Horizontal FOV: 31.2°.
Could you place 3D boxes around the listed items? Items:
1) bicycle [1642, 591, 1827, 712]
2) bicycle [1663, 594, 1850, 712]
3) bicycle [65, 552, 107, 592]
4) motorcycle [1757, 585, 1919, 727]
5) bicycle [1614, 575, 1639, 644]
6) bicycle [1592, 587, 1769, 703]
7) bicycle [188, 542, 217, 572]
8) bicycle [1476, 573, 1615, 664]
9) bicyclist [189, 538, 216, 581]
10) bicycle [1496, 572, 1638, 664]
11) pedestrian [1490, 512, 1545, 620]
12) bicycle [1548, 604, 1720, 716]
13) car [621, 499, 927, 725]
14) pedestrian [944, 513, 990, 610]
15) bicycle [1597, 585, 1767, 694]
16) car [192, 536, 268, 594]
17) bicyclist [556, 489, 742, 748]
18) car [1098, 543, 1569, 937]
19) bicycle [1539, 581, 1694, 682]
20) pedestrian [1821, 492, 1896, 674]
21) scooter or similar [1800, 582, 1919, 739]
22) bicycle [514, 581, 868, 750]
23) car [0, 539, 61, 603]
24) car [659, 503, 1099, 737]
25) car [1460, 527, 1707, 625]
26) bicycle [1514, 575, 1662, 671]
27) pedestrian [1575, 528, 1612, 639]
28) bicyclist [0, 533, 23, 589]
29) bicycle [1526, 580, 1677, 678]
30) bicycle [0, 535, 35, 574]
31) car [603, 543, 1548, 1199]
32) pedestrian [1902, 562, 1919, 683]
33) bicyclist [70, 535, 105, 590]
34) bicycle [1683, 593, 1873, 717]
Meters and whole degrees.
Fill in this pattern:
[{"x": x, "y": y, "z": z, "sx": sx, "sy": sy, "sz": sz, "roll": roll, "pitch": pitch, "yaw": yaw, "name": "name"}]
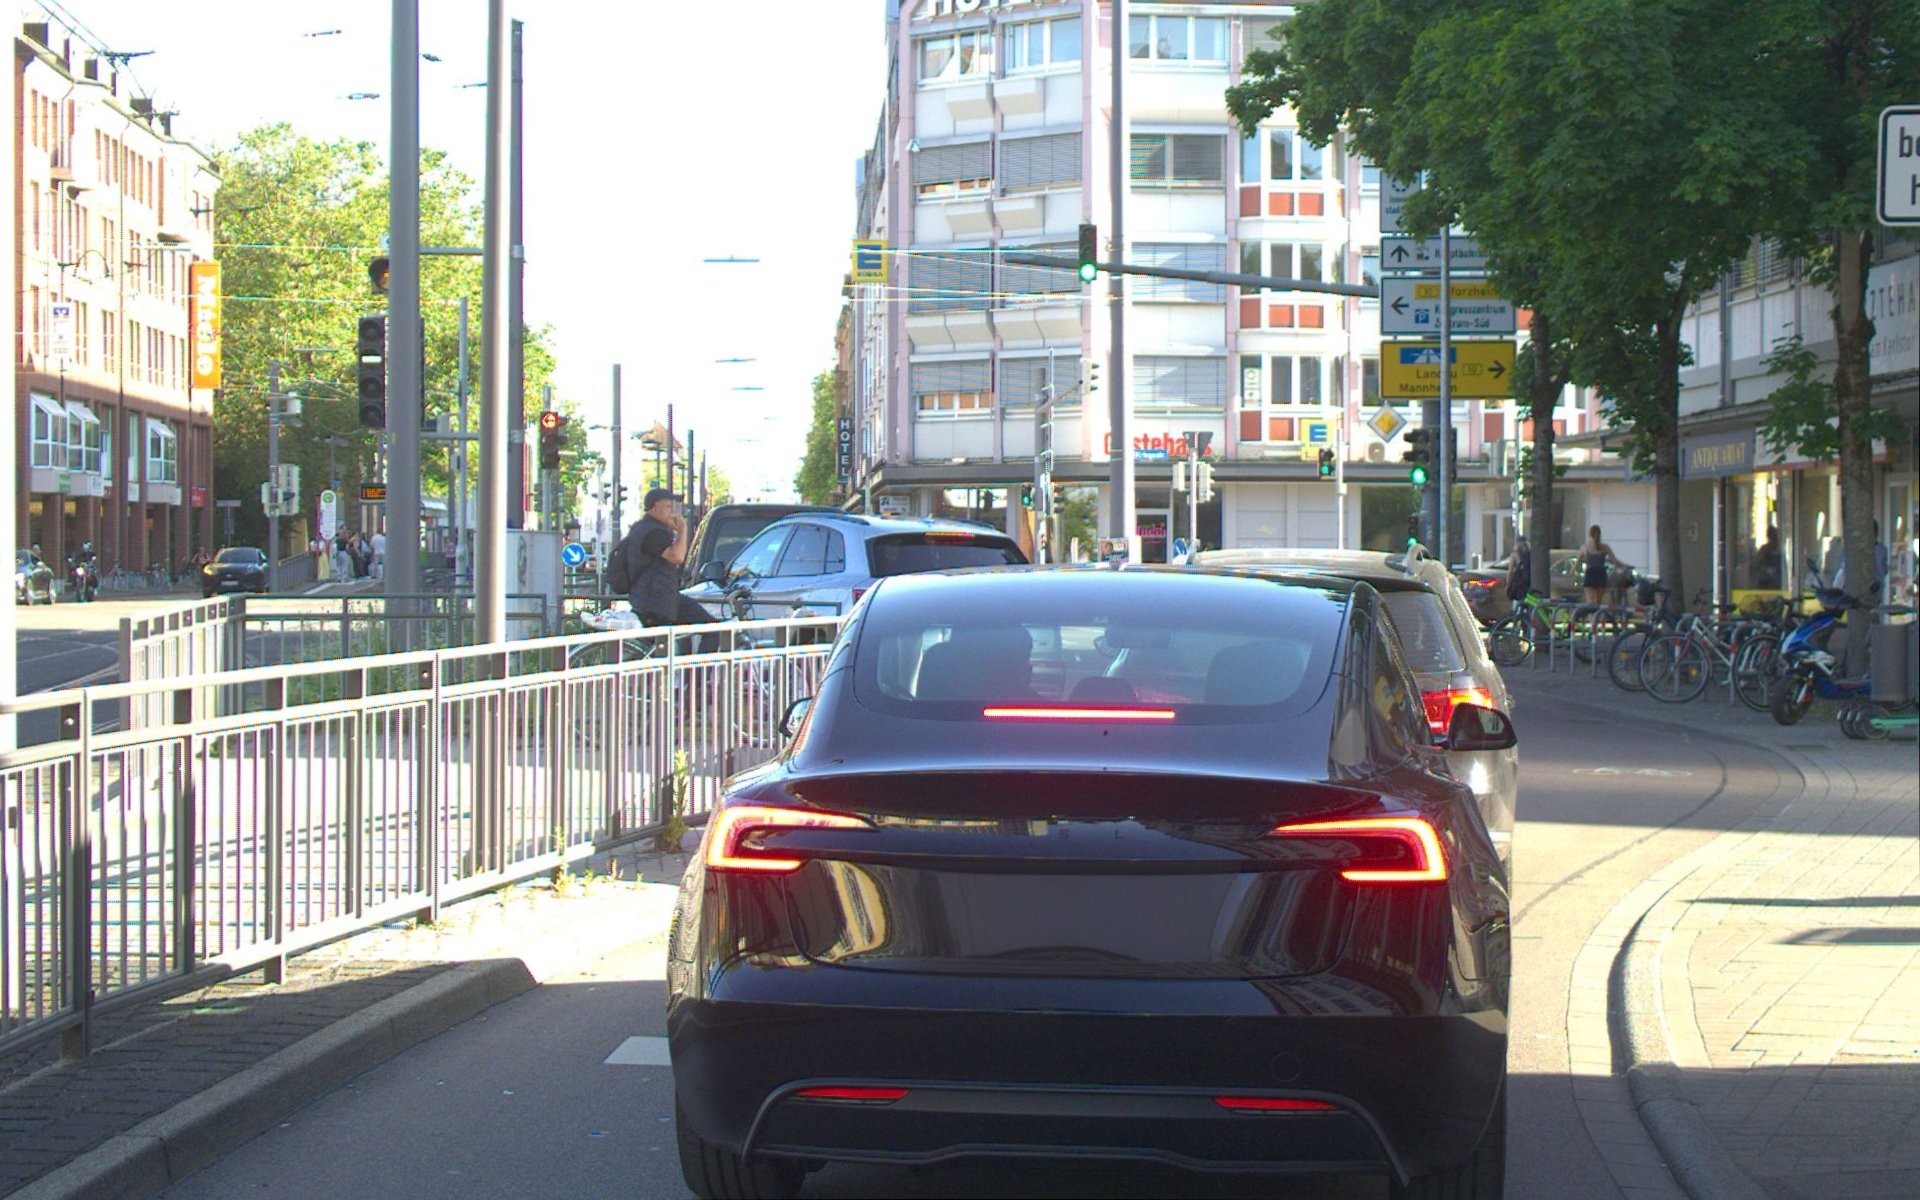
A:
[{"x": 7.180, "y": 0.479, "z": 31.865, "sx": 1.649, "sy": 1.095, "sz": 0.350, "roll": 1, "pitch": 0, "yaw": -10, "name": "bicycle"}, {"x": 7.285, "y": 0.485, "z": 31.442, "sx": 1.649, "sy": 1.057, "sz": 0.350, "roll": 1, "pitch": 0, "yaw": -10, "name": "bicycle"}, {"x": -24.197, "y": -0.781, "z": 95.162, "sx": 0.459, "sy": 1.089, "sz": 2.201, "roll": 1, "pitch": 1, "yaw": 4, "name": "bicycle"}, {"x": 7.711, "y": 0.478, "z": 29.256, "sx": 1.707, "sy": 1.169, "sz": 0.541, "roll": 1, "pitch": 0, "yaw": -2, "name": "motorcycle"}, {"x": 10.212, "y": 0.140, "z": 52.677, "sx": 0.332, "sy": 1.030, "sz": 1.256, "roll": 1, "pitch": 0, "yaw": 9, "name": "bicycle"}, {"x": 6.999, "y": 0.436, "z": 33.392, "sx": 1.649, "sy": 1.095, "sz": 0.350, "roll": 1, "pitch": 0, "yaw": -10, "name": "bicycle"}, {"x": -28.029, "y": -1.598, "z": 127.274, "sx": 0.529, "sy": 1.085, "sz": 2.224, "roll": 1, "pitch": 1, "yaw": 1, "name": "bicycle"}, {"x": 7.231, "y": 0.224, "z": 42.472, "sx": 1.650, "sy": 1.095, "sz": 0.350, "roll": 1, "pitch": 0, "yaw": 1, "name": "bicycle"}, {"x": -28.026, "y": -1.507, "z": 127.222, "sx": 0.784, "sy": 1.558, "sz": 0.746, "roll": 1, "pitch": 0, "yaw": 2, "name": "bicyclist"}, {"x": 7.299, "y": 0.215, "z": 41.378, "sx": 1.650, "sy": 1.095, "sz": 0.350, "roll": 0, "pitch": 1, "yaw": 1, "name": "bicycle"}, {"x": 8.620, "y": -0.522, "z": 53.166, "sx": 0.699, "sy": 1.656, "sz": 0.777, "roll": 1, "pitch": 0, "yaw": -1, "name": "pedestrian"}, {"x": 6.710, "y": 0.595, "z": 34.213, "sx": 1.649, "sy": 1.095, "sz": 0.350, "roll": 1, "pitch": 0, "yaw": -10, "name": "bicycle"}, {"x": -1.840, "y": 0.079, "z": 32.654, "sx": 1.993, "sy": 2.007, "sz": 4.001, "roll": 0, "pitch": 1, "yaw": -17, "name": "car"}, {"x": 0.152, "y": -0.801, "z": 72.044, "sx": 0.921, "sy": 2.007, "sz": 0.972, "roll": 1, "pitch": 0, "yaw": -1, "name": "pedestrian"}, {"x": 7.417, "y": 0.405, "z": 35.341, "sx": 1.650, "sy": 1.095, "sz": 0.350, "roll": 1, "pitch": 0, "yaw": 1, "name": "bicycle"}, {"x": -22.502, "y": -1.090, "z": 106.067, "sx": 1.697, "sy": 1.725, "sz": 3.707, "roll": 1, "pitch": 1, "yaw": -3, "name": "car"}, {"x": -2.007, "y": 0.108, "z": 22.149, "sx": 0.758, "sy": 1.623, "sz": 0.978, "roll": 0, "pitch": 1, "yaw": -39, "name": "bicyclist"}, {"x": 1.610, "y": 0.493, "z": 14.995, "sx": 1.751, "sy": 1.449, "sz": 3.999, "roll": 1, "pitch": 1, "yaw": 6, "name": "car"}, {"x": 7.309, "y": 0.345, "z": 38.293, "sx": 1.650, "sy": 1.095, "sz": 0.350, "roll": 1, "pitch": 0, "yaw": 1, "name": "bicycle"}, {"x": 9.995, "y": -0.190, "z": 38.260, "sx": 0.662, "sy": 2.007, "sz": 0.579, "roll": 1, "pitch": 0, "yaw": 2, "name": "pedestrian"}, {"x": 7.555, "y": 0.475, "z": 27.182, "sx": 1.644, "sy": 1.211, "sz": 0.644, "roll": 1, "pitch": 0, "yaw": 30, "name": "scooter or similar"}, {"x": -1.732, "y": 0.414, "z": 22.423, "sx": 2.329, "sy": 1.050, "sz": 0.631, "roll": 0, "pitch": 1, "yaw": -38, "name": "bicycle"}, {"x": -23.565, "y": -0.731, "z": 85.422, "sx": 1.710, "sy": 1.521, "sz": 4.037, "roll": 1, "pitch": 1, "yaw": -5, "name": "car"}, {"x": -0.719, "y": 0.118, "z": 26.576, "sx": 1.883, "sy": 1.656, "sz": 4.159, "roll": 1, "pitch": 1, "yaw": -25, "name": "car"}, {"x": 10.698, "y": -0.419, "z": 59.127, "sx": 3.813, "sy": 1.609, "sz": 1.827, "roll": 1, "pitch": 0, "yaw": -4, "name": "car"}, {"x": 7.362, "y": 0.272, "z": 40.333, "sx": 1.650, "sy": 1.095, "sz": 0.350, "roll": 1, "pitch": 0, "yaw": 1, "name": "bicycle"}, {"x": 9.809, "y": -0.260, "z": 53.263, "sx": 0.526, "sy": 1.704, "sz": 0.403, "roll": 1, "pitch": 0, "yaw": 8, "name": "pedestrian"}, {"x": -26.551, "y": -1.084, "z": 95.579, "sx": 0.784, "sy": 1.558, "sz": 0.746, "roll": 0, "pitch": 1, "yaw": 2, "name": "bicyclist"}, {"x": 7.329, "y": 0.332, "z": 39.320, "sx": 1.650, "sy": 1.095, "sz": 0.350, "roll": 1, "pitch": 0, "yaw": 1, "name": "bicycle"}, {"x": -26.485, "y": -1.275, "z": 96.183, "sx": 0.529, "sy": 1.085, "sz": 2.284, "roll": 1, "pitch": 1, "yaw": 1, "name": "bicycle"}, {"x": 0.368, "y": 0.608, "z": 8.709, "sx": 1.829, "sy": 1.450, "sz": 3.999, "roll": 1, "pitch": 1, "yaw": 4, "name": "car"}, {"x": 10.721, "y": 0.246, "z": 38.153, "sx": 0.389, "sy": 1.339, "sz": 0.513, "roll": 1, "pitch": 0, "yaw": 2, "name": "pedestrian"}, {"x": -24.191, "y": -1.032, "z": 95.292, "sx": 0.785, "sy": 1.522, "sz": 0.589, "roll": 1, "pitch": 0, "yaw": 4, "name": "bicyclist"}, {"x": 7.382, "y": 0.498, "z": 31.020, "sx": 1.649, "sy": 1.095, "sz": 0.350, "roll": 1, "pitch": 0, "yaw": -10, "name": "bicycle"}]
